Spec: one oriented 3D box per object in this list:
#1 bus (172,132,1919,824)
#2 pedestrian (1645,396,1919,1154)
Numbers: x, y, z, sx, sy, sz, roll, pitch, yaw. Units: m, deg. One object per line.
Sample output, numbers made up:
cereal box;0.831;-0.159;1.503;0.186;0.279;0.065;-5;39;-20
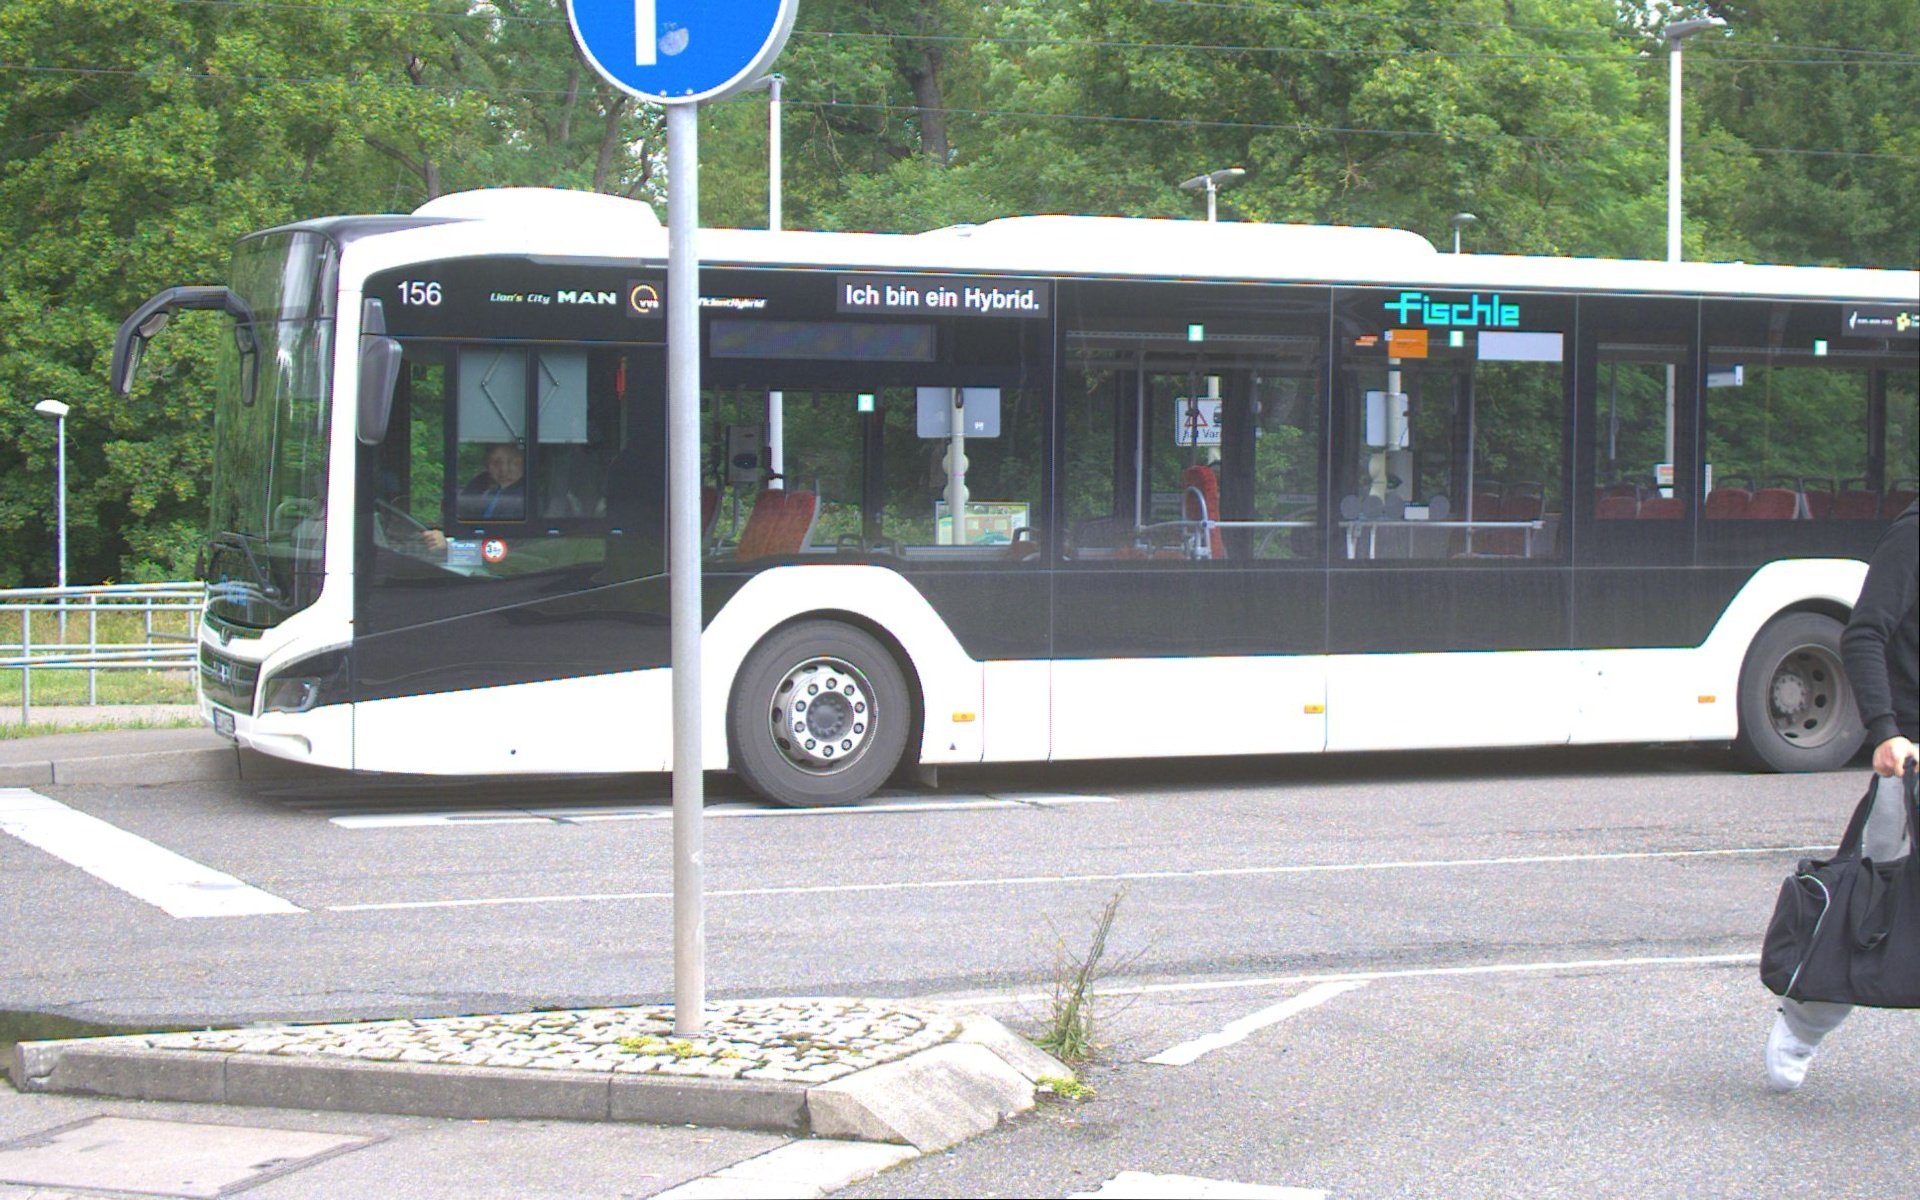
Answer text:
bus;1.910;-0.618;19.498;12.157;3.192;2.676;0;1;-23
pedestrian;2.280;0.397;8.434;0.954;1.741;1.062;1;1;-1
